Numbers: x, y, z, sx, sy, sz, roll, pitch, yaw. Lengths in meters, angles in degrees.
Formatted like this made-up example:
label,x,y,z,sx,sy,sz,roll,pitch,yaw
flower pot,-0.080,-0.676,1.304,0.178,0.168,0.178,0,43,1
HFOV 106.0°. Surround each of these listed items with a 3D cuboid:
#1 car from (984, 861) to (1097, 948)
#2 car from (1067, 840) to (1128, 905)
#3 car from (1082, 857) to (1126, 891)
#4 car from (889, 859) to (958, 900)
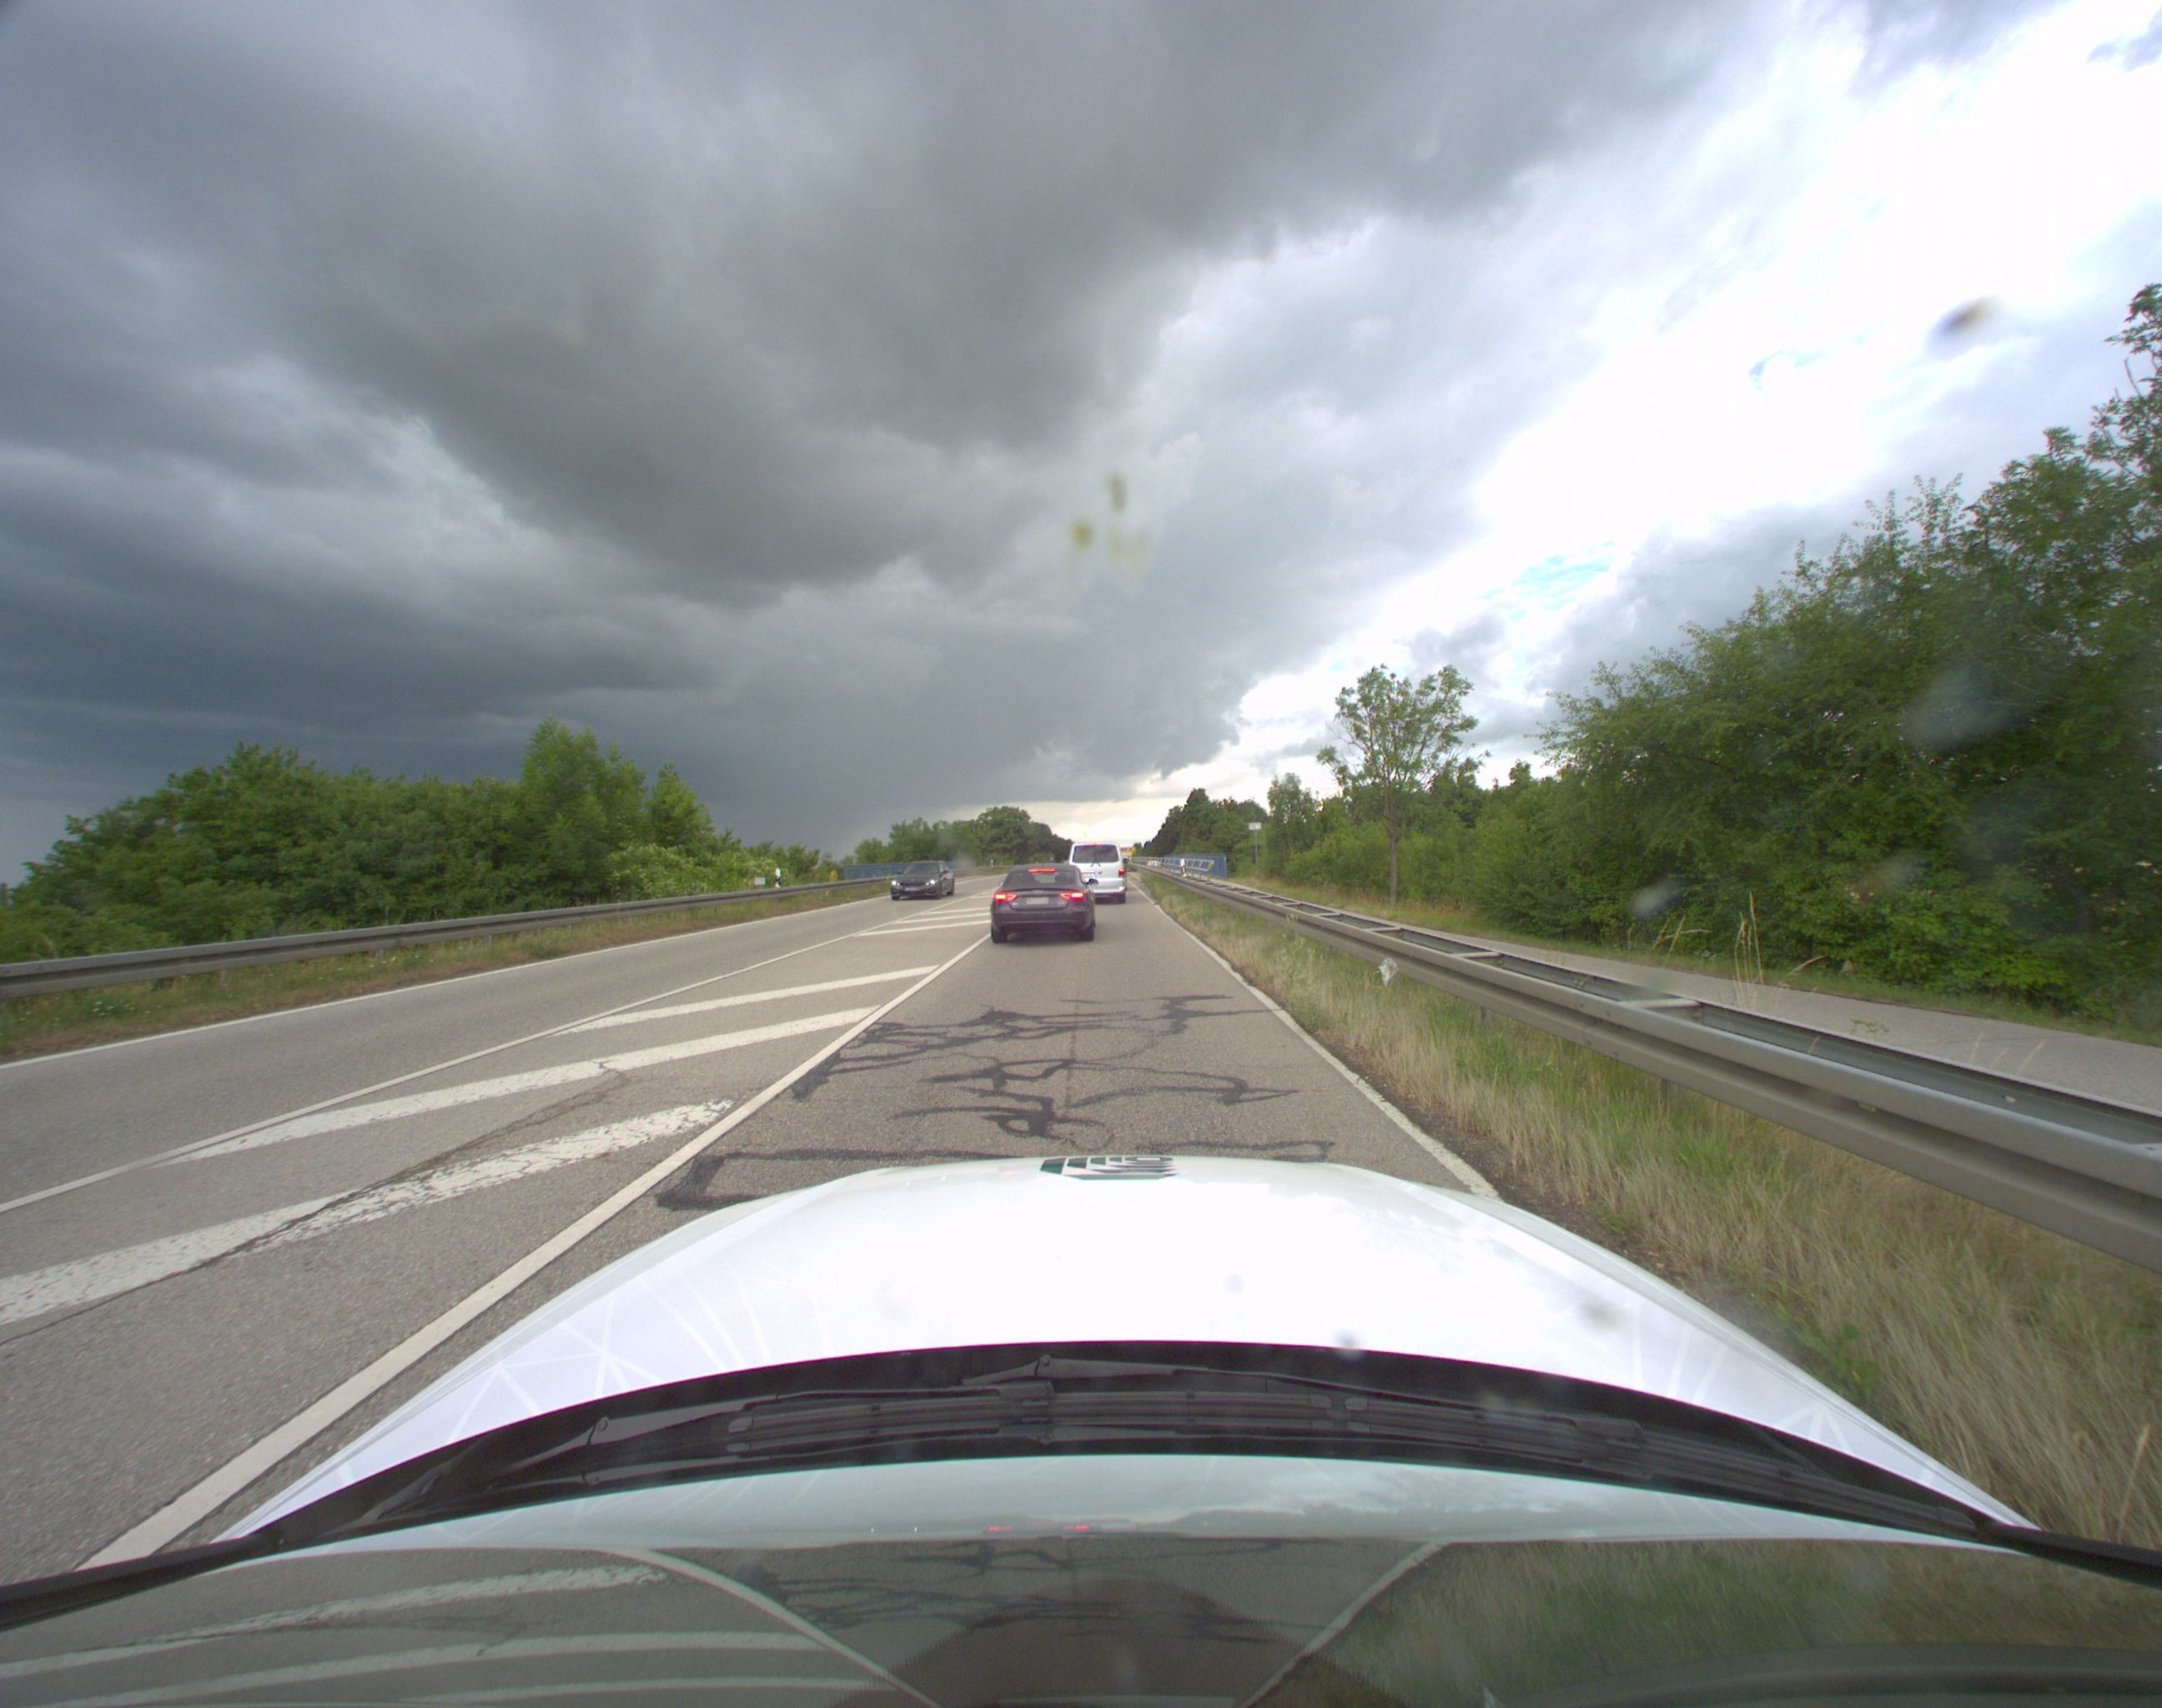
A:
label,x,y,z,sx,sy,sz,roll,pitch,yaw
car,-0.632,0.859,15.600,1.815,1.381,4.073,-2,0,1
car,0.553,0.571,26.944,1.822,1.935,4.001,-2,-1,1
car,1.048,0.864,36.102,1.814,1.381,4.074,-2,0,3
car,-6.128,0.957,32.219,1.793,1.450,4.445,-2,0,0
